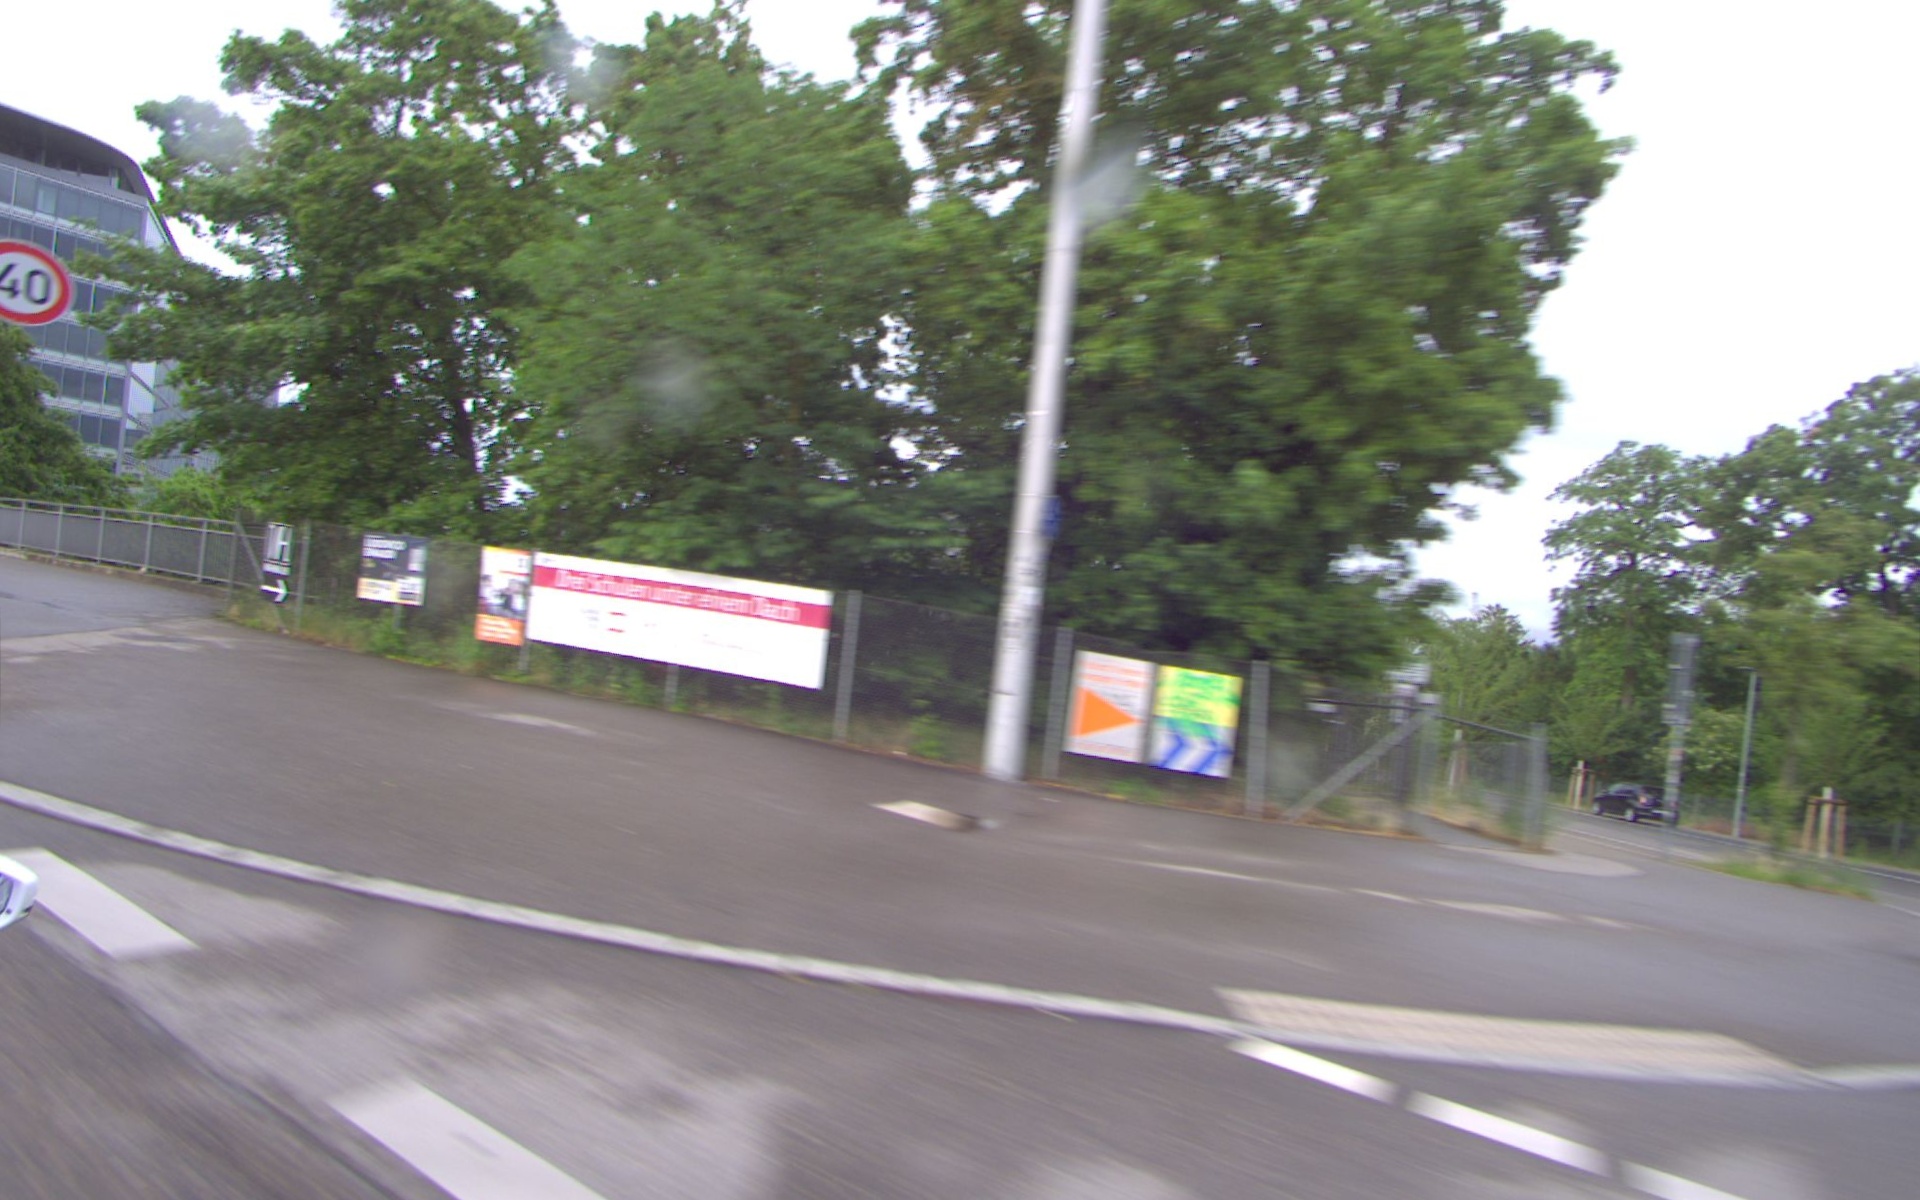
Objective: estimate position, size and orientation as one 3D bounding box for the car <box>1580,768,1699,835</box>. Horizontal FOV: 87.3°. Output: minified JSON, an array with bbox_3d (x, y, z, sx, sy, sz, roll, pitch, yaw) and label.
[{"bbox_3d":[26.283,7.759,39.092,1.962,1.801,4.093,8,-4,6],"label":"car"}]
